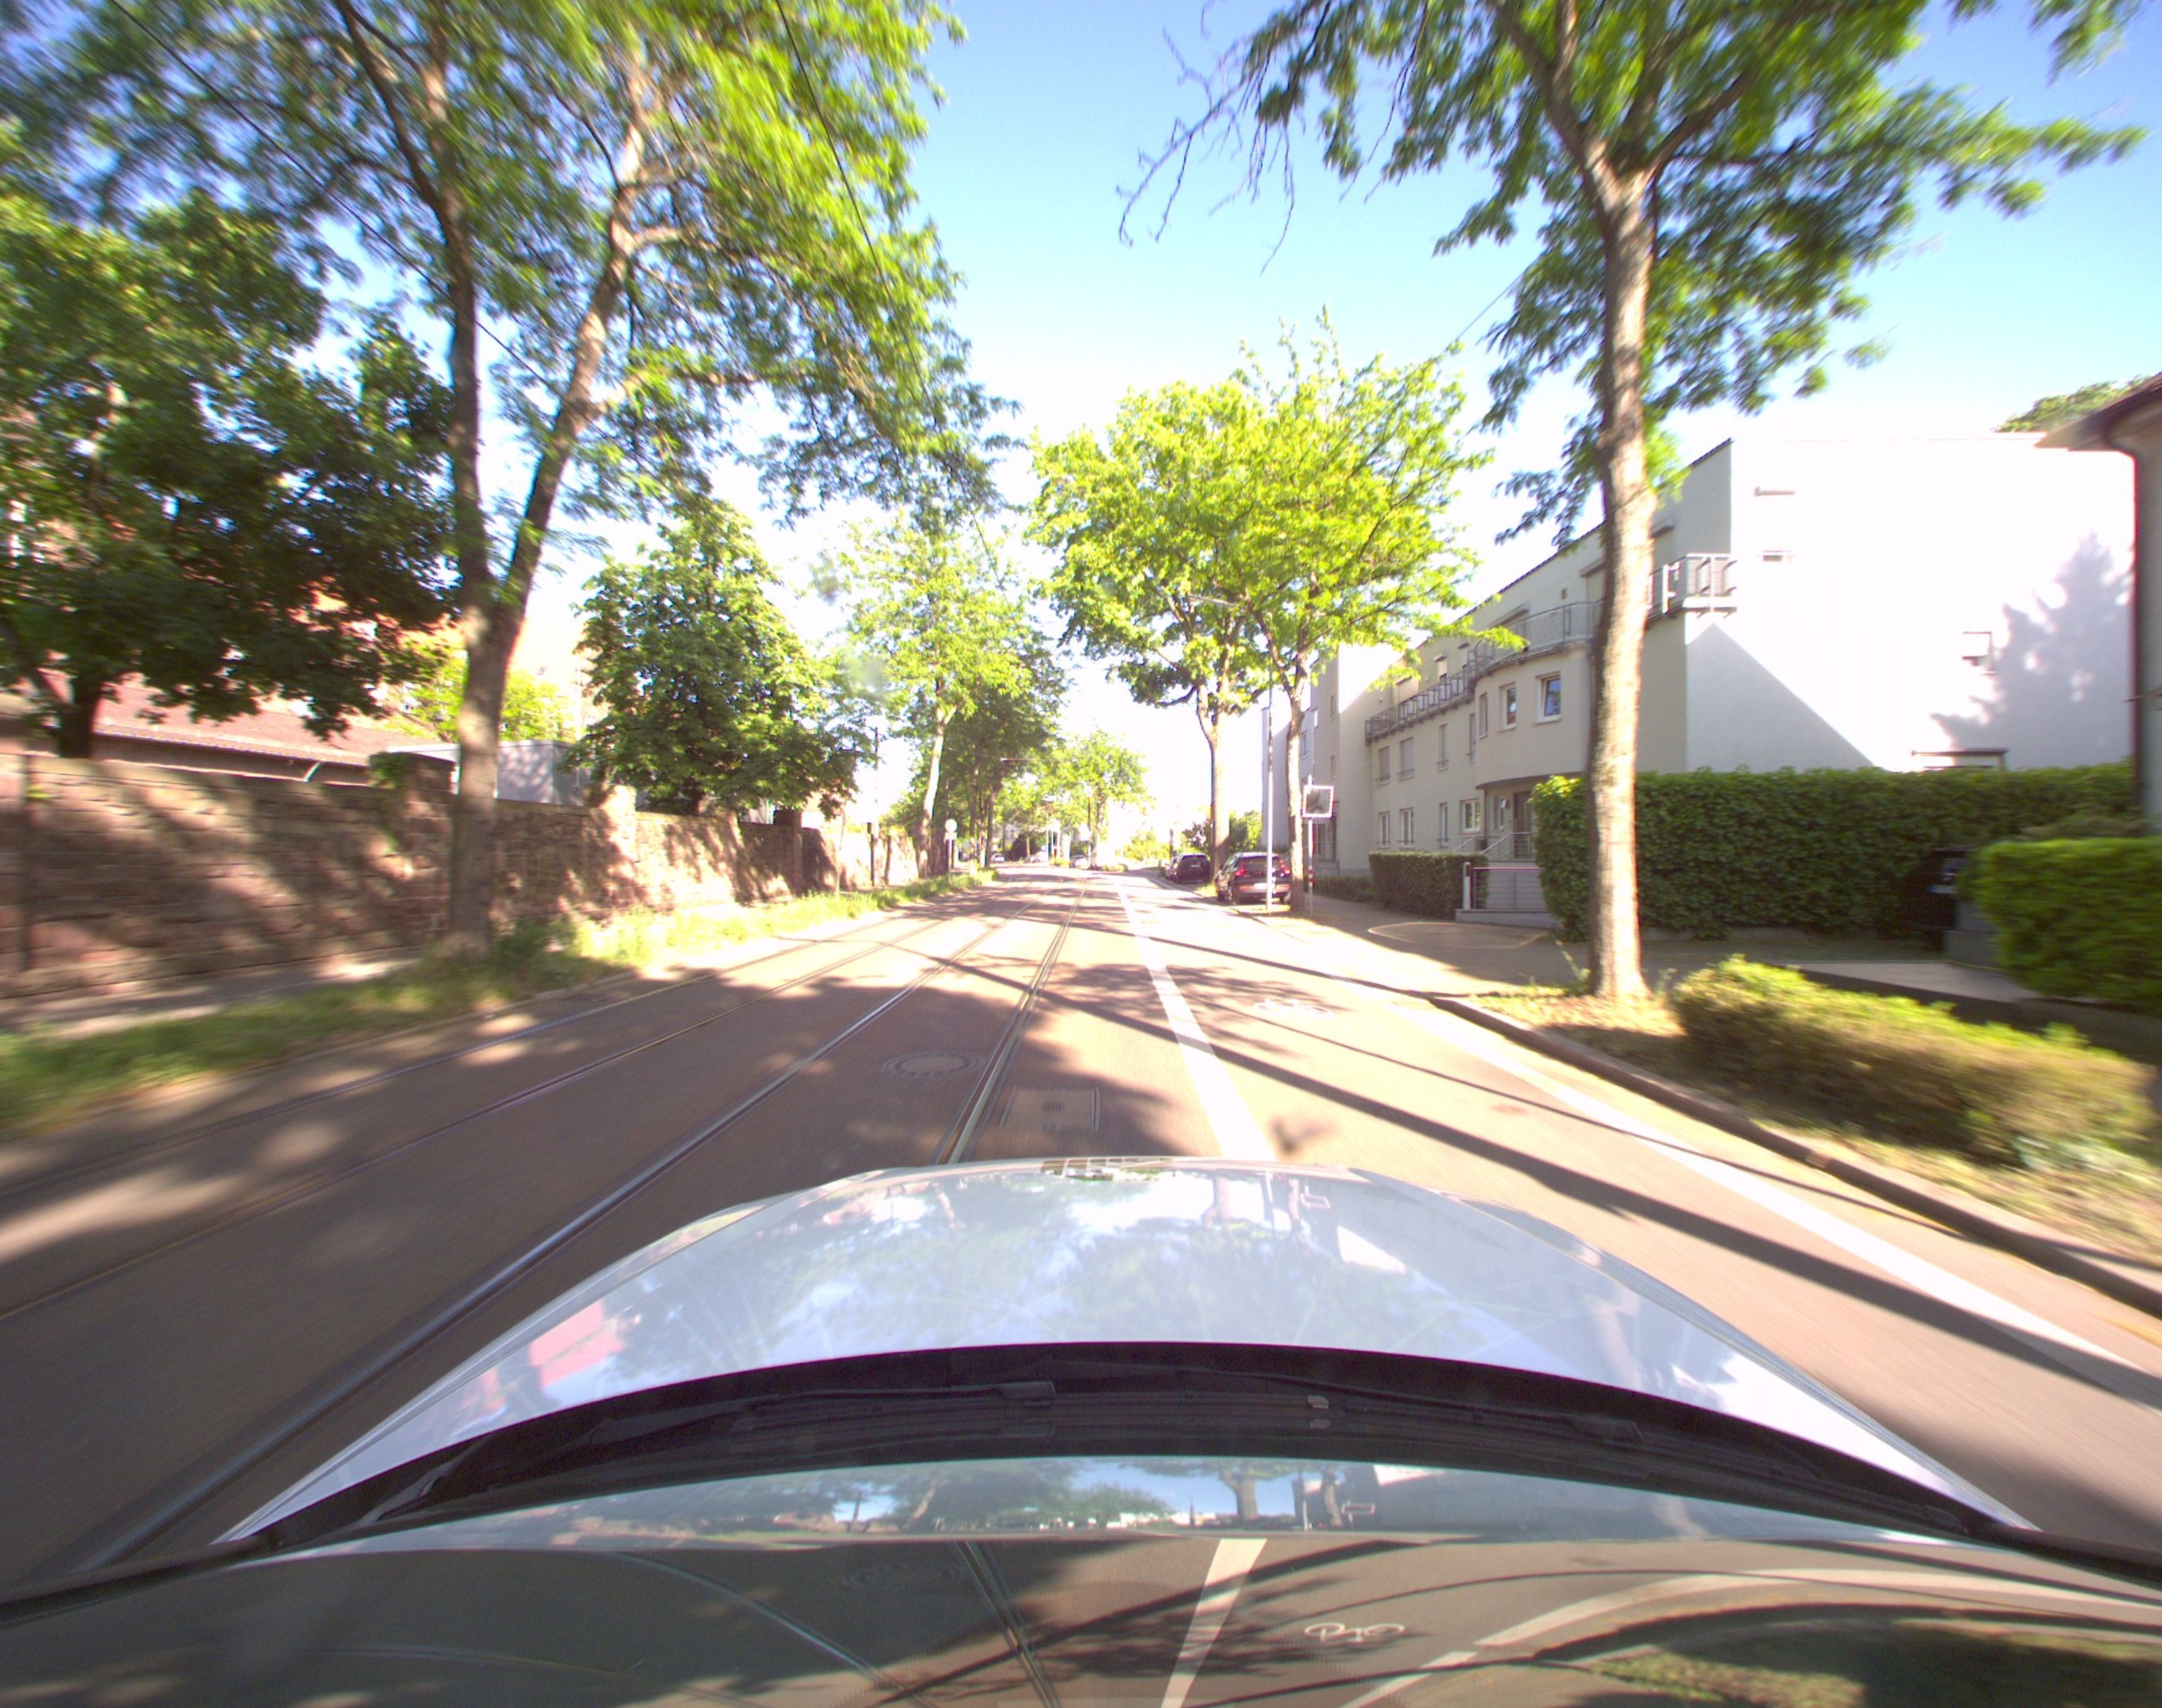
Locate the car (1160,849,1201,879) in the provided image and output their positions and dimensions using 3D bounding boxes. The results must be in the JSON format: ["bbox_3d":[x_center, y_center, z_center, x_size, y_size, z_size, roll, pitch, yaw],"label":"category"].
[{"bbox_3d":[6.052,0.565,49.789,1.996,1.675,4.393,-2,0,1],"label":"car"}]

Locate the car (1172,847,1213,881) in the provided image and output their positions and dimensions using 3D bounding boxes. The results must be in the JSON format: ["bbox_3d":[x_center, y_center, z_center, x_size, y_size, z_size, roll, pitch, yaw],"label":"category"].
[{"bbox_3d":[5.964,0.528,43.951,1.993,1.675,4.399,-2,0,5],"label":"car"}]

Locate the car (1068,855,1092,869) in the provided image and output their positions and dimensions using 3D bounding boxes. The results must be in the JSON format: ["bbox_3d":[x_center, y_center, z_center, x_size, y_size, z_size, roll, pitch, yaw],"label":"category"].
[{"bbox_3d":[-0.153,0.948,97.959,2.004,1.560,4.376,-1,0,-11],"label":"car"}]

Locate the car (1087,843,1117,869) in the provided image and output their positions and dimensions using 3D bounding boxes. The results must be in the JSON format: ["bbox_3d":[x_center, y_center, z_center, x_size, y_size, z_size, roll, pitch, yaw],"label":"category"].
[{"bbox_3d":[2.021,0.184,79.916,1.995,2.458,4.491,-1,0,-11],"label":"car"}]

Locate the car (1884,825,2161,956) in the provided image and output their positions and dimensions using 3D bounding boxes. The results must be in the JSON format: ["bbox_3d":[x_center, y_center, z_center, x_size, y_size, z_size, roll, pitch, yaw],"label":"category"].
[{"bbox_3d":[14.320,0.466,11.618,3.972,1.705,1.747,-1,0,1],"label":"car"}]

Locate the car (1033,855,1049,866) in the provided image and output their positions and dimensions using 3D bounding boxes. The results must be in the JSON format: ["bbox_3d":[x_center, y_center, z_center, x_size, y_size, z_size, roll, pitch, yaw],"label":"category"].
[{"bbox_3d":[-7.290,1.134,147.876,2.007,1.910,4.368,-2,0,-16],"label":"car"}]

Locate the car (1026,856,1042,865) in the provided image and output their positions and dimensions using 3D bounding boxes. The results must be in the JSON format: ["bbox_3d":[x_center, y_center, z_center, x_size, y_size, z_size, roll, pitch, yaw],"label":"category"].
[{"bbox_3d":[-8.880,1.212,153.859,2.007,1.675,4.150,-2,0,-16],"label":"car"}]

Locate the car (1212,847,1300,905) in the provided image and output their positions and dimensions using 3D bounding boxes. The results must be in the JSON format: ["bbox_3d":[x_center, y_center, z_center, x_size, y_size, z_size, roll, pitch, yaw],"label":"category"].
[{"bbox_3d":[5.609,0.659,26.680,1.996,1.675,4.393,-2,0,1],"label":"car"}]

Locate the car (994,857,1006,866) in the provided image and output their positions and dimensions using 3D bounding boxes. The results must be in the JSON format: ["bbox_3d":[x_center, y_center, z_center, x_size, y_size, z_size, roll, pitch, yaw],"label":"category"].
[{"bbox_3d":[-15.195,1.379,152.047,1.866,1.675,4.159,-1,0,-10],"label":"car"}]
